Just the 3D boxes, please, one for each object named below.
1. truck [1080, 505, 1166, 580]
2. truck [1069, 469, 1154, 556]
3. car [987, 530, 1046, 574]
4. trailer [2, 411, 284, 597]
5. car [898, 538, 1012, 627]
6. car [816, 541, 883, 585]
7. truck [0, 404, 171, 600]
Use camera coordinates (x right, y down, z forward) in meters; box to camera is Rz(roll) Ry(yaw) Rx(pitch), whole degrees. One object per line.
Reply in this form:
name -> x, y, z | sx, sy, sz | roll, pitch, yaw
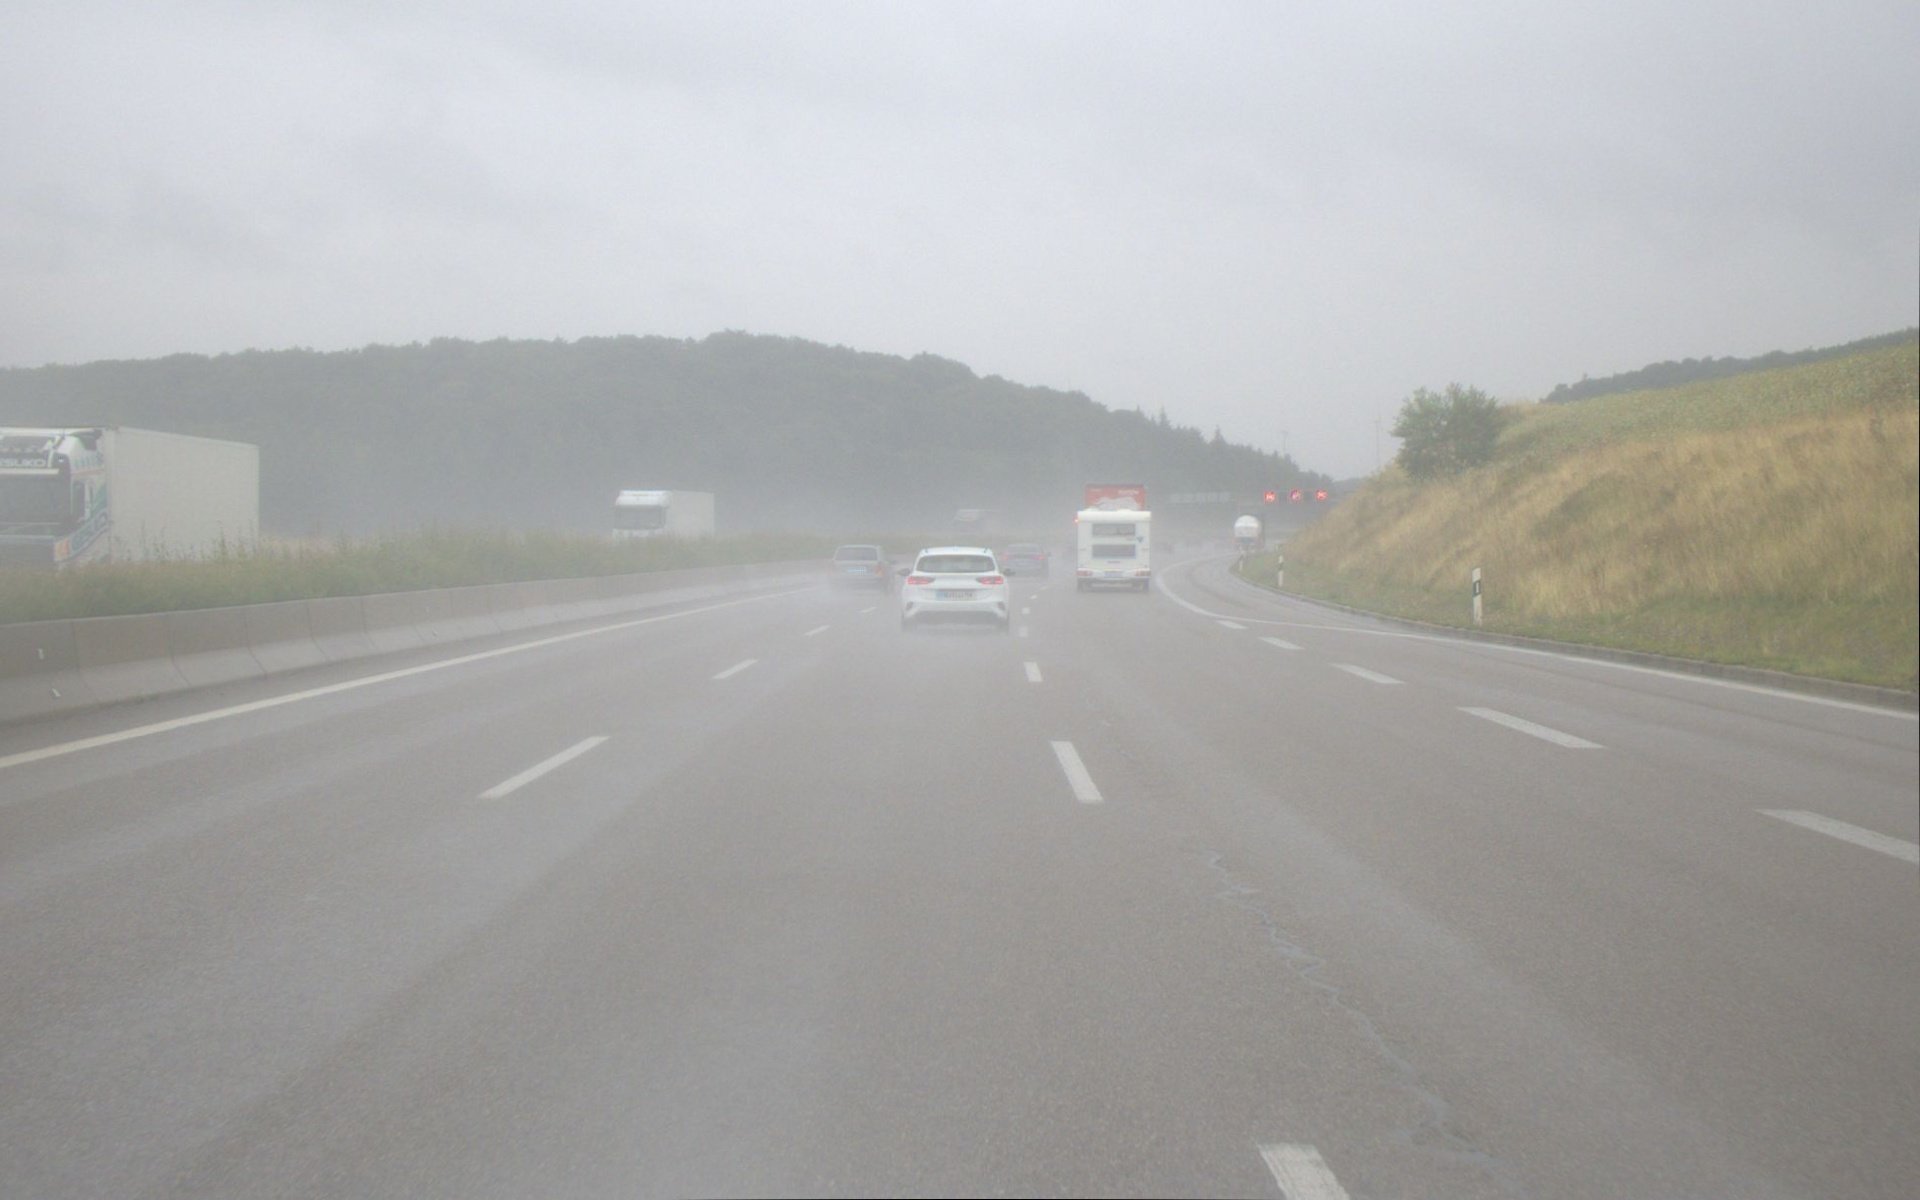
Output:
truck -> 4.986, -1.768, 105.650 | 2.408, 2.244, 4.693 | 0, 1, 0
truck -> 6.704, -3.969, 153.844 | 3.527, 3.730, 11.426 | 0, 2, 1
car -> 2.099, -1.797, 127.927 | 1.993, 1.612, 4.000 | 0, 1, -2
trailer -> -18.900, -2.189, 80.776 | 2.944, 3.968, 14.306 | 0, 1, 1
car -> -0.063, -0.299, 58.157 | 1.867, 1.458, 4.000 | 0, 0, 0
car -> -3.124, -1.030, 96.978 | 1.823, 1.152, 4.213 | 0, 0, -2
truck -> -19.040, -2.058, 73.172 | 2.953, 3.980, 6.217 | 0, 1, 1
